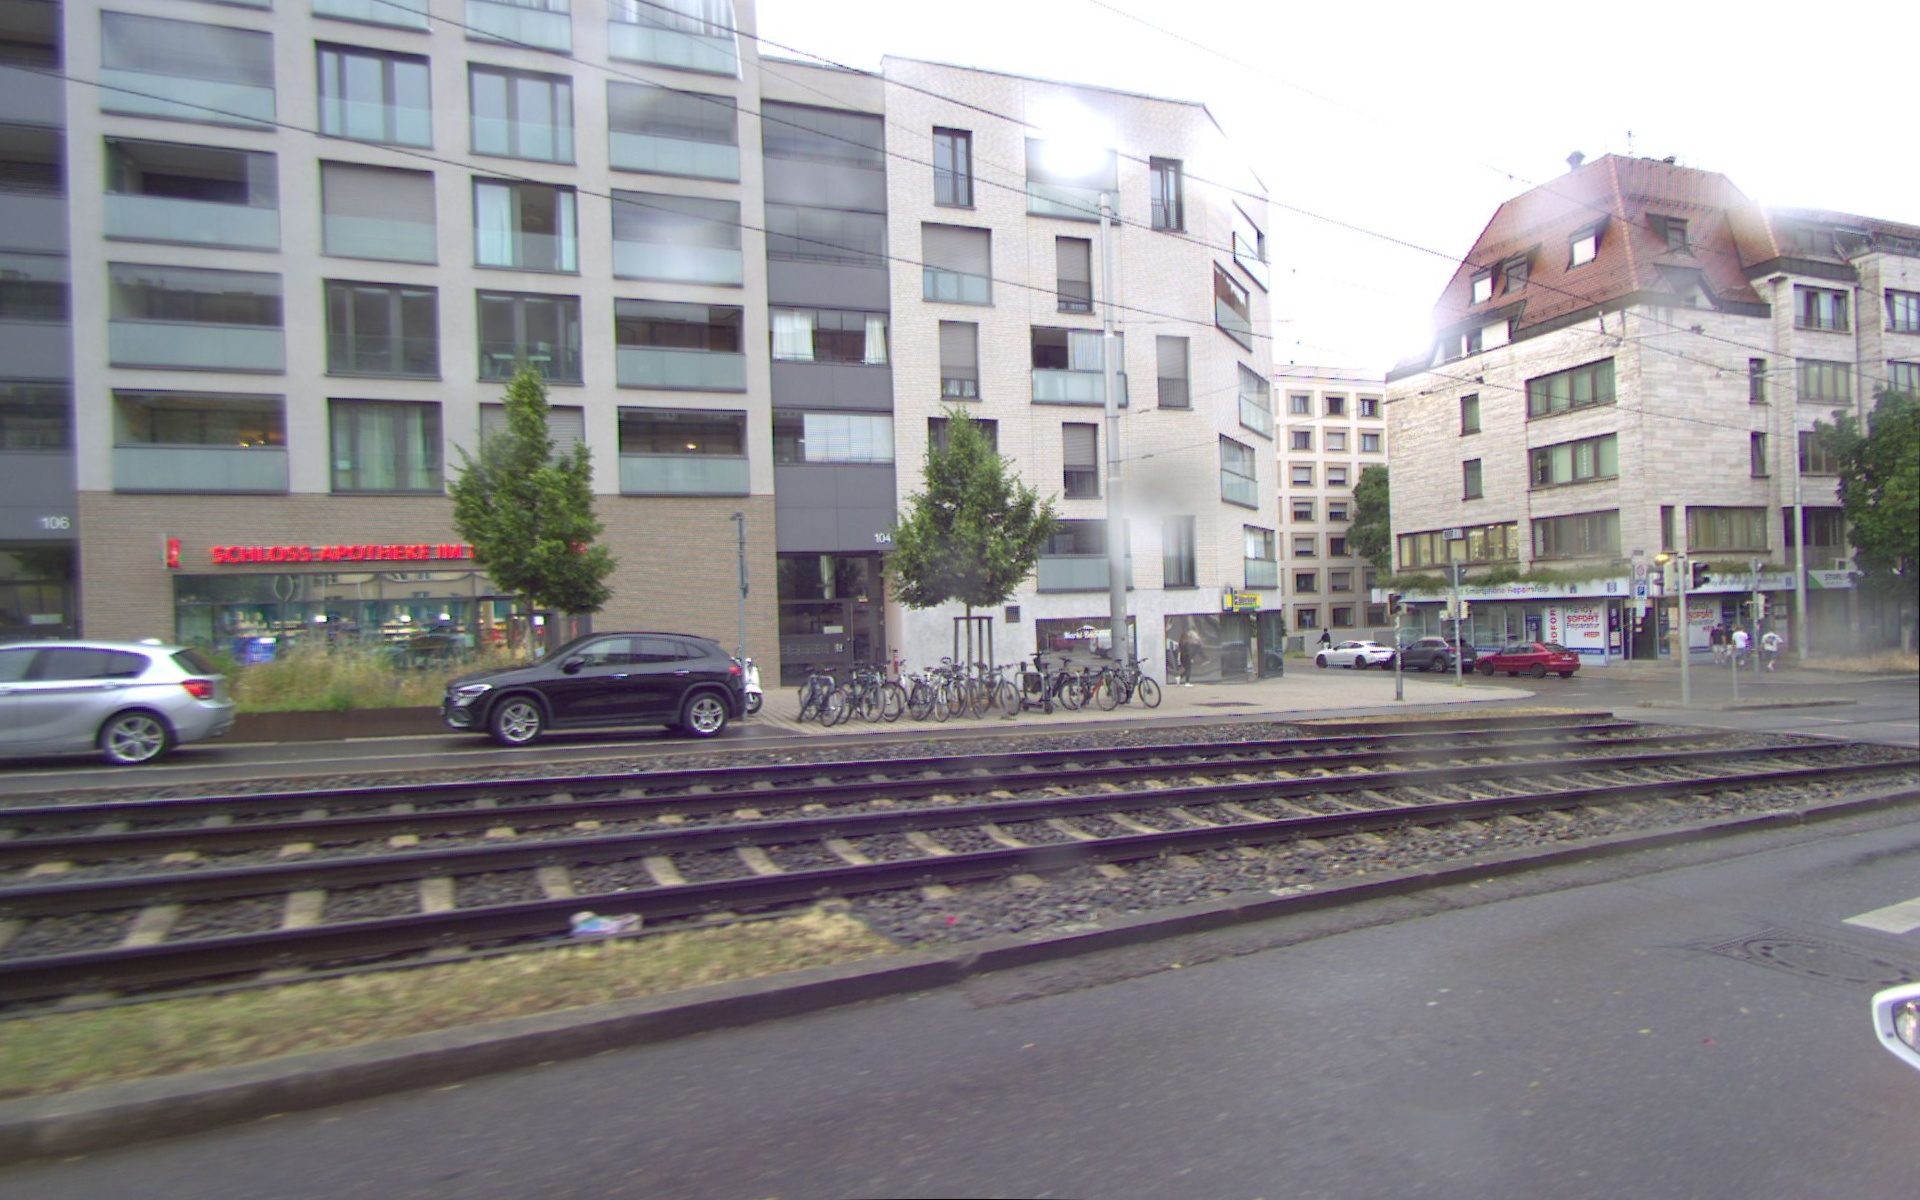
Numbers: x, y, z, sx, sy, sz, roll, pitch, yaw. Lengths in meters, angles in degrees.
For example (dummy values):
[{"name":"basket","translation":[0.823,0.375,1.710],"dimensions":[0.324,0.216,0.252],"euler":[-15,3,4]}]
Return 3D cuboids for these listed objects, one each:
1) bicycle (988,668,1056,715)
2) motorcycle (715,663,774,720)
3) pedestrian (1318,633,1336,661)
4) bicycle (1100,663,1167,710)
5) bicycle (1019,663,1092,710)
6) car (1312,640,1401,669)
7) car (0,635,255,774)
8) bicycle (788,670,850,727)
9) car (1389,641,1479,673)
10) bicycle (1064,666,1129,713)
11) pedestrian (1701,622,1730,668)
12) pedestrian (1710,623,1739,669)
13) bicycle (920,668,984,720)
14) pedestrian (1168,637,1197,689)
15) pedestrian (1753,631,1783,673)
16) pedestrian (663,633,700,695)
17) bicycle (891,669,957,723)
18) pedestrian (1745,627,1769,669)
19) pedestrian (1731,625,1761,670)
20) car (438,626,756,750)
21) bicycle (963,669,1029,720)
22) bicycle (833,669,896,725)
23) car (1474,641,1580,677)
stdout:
[{"name":"bicycle","translation":[1.317,1.941,21.519],"dimensions":[0.384,0.930,1.770],"euler":[2,-3,-38]},{"name":"motorcycle","translation":[-4.306,1.799,19.969],"dimensions":[0.537,1.056,1.749],"euler":[4,-4,-33]},{"name":"pedestrian","translation":[21.015,2.688,57.547],"dimensions":[0.640,1.569,0.680],"euler":[2,0,-21]},{"name":"bicycle","translation":[3.995,1.983,23.202],"dimensions":[0.436,0.993,1.773],"euler":[2,-2,-33]},{"name":"bicycle","translation":[2.136,1.937,22.597],"dimensions":[1.764,0.930,0.385],"euler":[0,-1,44]},{"name":"car","translation":[19.829,2.707,50.460],"dimensions":[1.570,1.335,4.482],"euler":[2,-2,-20]},{"name":"car","translation":[-11.005,1.186,11.812],"dimensions":[4.280,1.484,1.671],"euler":[2,-1,-31]},{"name":"bicycle","translation":[-2.630,1.795,18.579],"dimensions":[0.383,0.930,1.773],"euler":[2,-2,-33]},{"name":"car","translation":[21.548,2.591,45.789],"dimensions":[1.570,1.335,3.689],"euler":[2,-2,-20]},{"name":"bicycle","translation":[3.032,1.979,22.393],"dimensions":[0.383,0.888,1.774],"euler":[2,0,-31]},{"name":"pedestrian","translation":[31.212,1.848,41.517],"dimensions":[0.674,1.867,0.646],"euler":[2,0,-21]},{"name":"pedestrian","translation":[30.726,1.844,40.375],"dimensions":[0.674,1.772,0.646],"euler":[2,0,-21]},{"name":"bicycle","translation":[-0.180,1.868,20.218],"dimensions":[0.383,0.930,1.773],"euler":[2,-2,-33]},{"name":"pedestrian","translation":[6.911,1.945,31.191],"dimensions":[0.637,1.590,0.775],"euler":[0,-1,33]},{"name":"pedestrian","translation":[31.410,2.022,39.049],"dimensions":[0.674,1.569,0.646],"euler":[2,0,-21]},{"name":"pedestrian","translation":[-6.757,1.553,24.363],"dimensions":[0.790,1.468,0.539],"euler":[2,0,-18]},{"name":"bicycle","translation":[-0.711,1.829,19.353],"dimensions":[0.383,0.930,1.773],"euler":[2,-2,-33]},{"name":"pedestrian","translation":[31.976,1.924,40.284],"dimensions":[0.577,1.619,0.503],"euler":[2,0,-22]},{"name":"pedestrian","translation":[31.057,1.864,39.710],"dimensions":[0.674,1.747,0.646],"euler":[2,0,-21]},{"name":"car","translation":[-5.447,1.261,15.234],"dimensions":[4.280,1.625,1.671],"euler":[2,-1,-31]},{"name":"bicycle","translation":[0.728,1.932,20.814],"dimensions":[0.383,0.930,1.773],"euler":[2,-2,-33]},{"name":"bicycle","translation":[-1.837,1.821,19.139],"dimensions":[0.383,0.930,1.773],"euler":[2,-2,-33]},{"name":"car","translation":[23.211,2.399,41.258],"dimensions":[1.570,1.335,3.689],"euler":[2,-2,-20]}]
